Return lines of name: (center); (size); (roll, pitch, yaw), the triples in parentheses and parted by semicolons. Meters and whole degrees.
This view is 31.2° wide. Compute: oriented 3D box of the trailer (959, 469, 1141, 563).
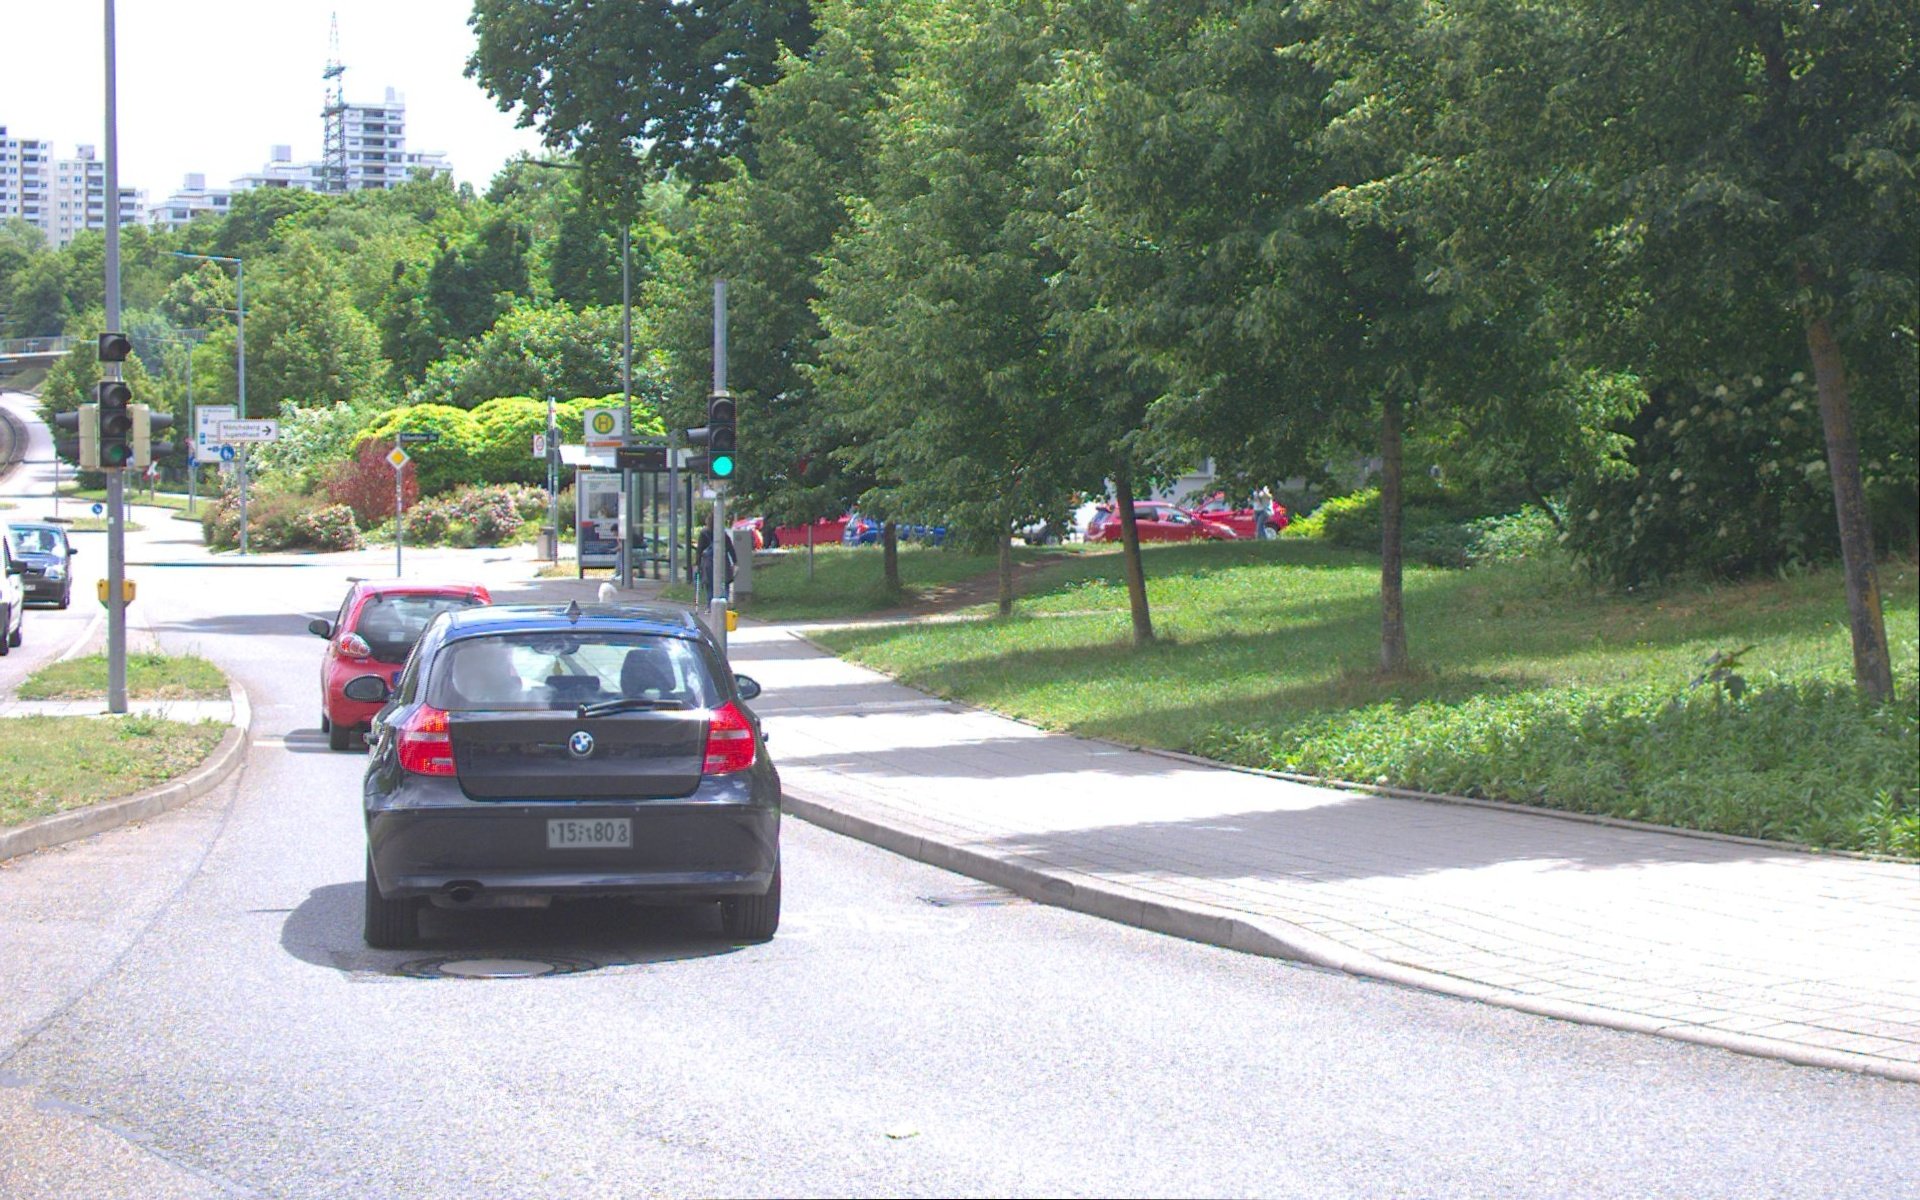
trailer: (2.446, -2.318, 94.140); (4.535, 2.478, 2.222); (0, 3, -14)

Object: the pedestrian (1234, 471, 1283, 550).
pedestrian: (6.664, -1.992, 76.702); (0.985, 1.754, 0.858); (0, 1, -2)

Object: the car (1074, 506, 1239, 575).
car: (4.857, -1.473, 85.162); (3.685, 1.638, 1.831); (0, 3, -15)

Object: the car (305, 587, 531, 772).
car: (-4.869, 0.656, 30.578); (1.765, 1.427, 3.480); (-1, 2, -12)

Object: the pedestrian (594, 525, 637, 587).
pedestrian: (-7.131, -0.907, 71.138); (0.827, 1.254, 0.686); (0, 2, -10)

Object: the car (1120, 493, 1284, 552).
car: (6.691, -2.155, 95.179); (4.079, 1.497, 2.001); (-2, 3, -14)

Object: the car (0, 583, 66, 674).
car: (-17.364, 0.499, 63.484); (1.529, 1.545, 3.734); (1, 1, -13)

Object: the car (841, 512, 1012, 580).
car: (-0.818, -1.329, 83.749); (3.792, 1.451, 1.897); (-2, 4, -15)

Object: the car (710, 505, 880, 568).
car: (-4.421, -1.707, 92.055); (4.155, 1.556, 2.001); (-1, 4, -17)

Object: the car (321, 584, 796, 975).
car: (-1.860, 0.680, 15.322); (1.815, 1.416, 4.001); (-1, 1, -9)

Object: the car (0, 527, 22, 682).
car: (-13.593, 0.028, 46.309); (1.761, 1.656, 4.509); (-1, 6, -14)

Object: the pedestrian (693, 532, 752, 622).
pedestrian: (-3.787, -0.372, 54.780); (0.819, 1.420, 0.830); (0, 1, -12)
